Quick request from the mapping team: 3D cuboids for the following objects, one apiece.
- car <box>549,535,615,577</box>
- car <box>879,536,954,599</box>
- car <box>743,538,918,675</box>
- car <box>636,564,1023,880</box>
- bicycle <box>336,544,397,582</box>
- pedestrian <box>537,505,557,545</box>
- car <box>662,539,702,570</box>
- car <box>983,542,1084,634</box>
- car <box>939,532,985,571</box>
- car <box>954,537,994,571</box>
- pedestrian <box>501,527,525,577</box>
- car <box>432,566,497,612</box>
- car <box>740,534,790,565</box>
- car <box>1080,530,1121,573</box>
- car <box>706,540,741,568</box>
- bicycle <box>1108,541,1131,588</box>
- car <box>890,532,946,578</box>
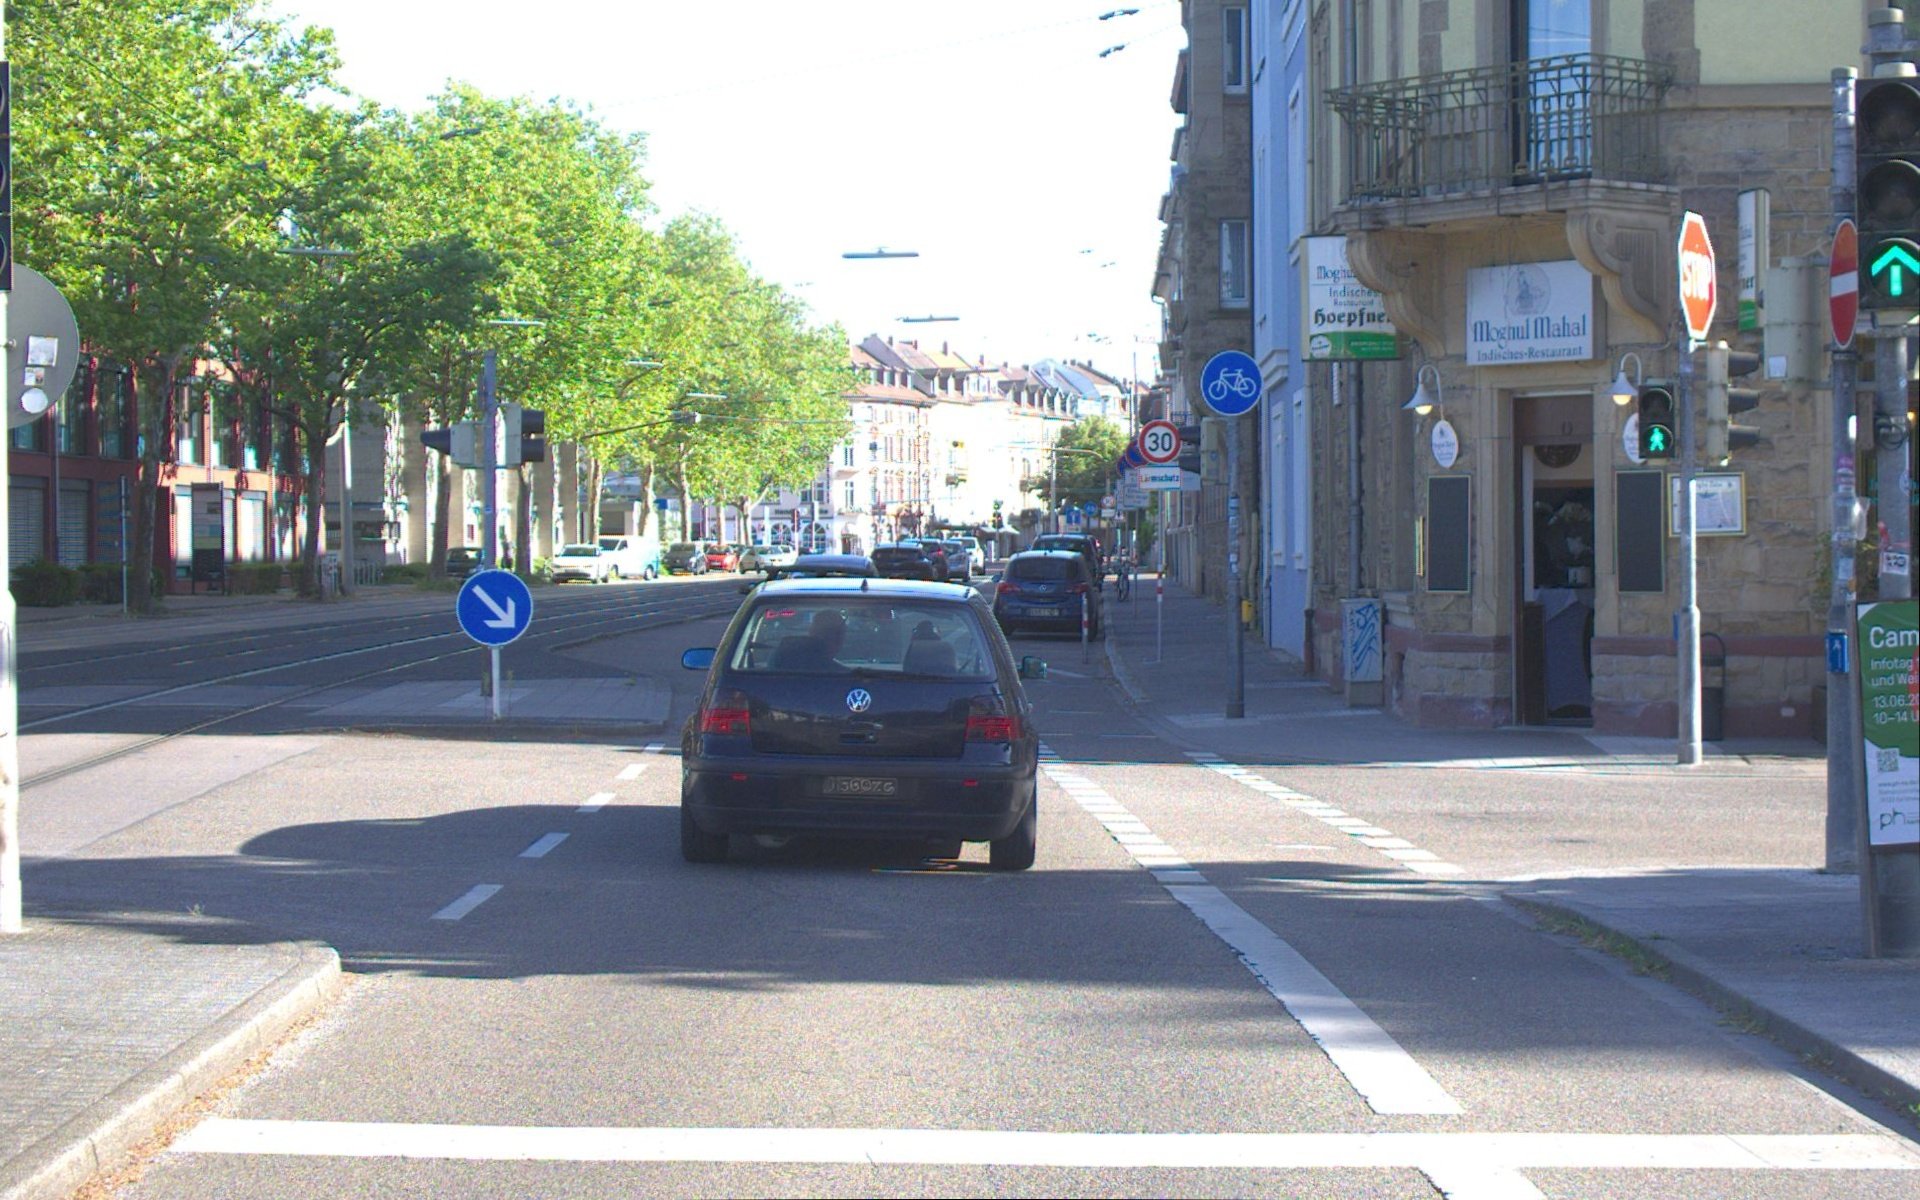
[{"bbox_3d":[-15.100,-1.764,137.674,2.012,1.567,4.693,2,2,1],"label":"car"},{"bbox_3d":[-1.031,-0.804,83.212,1.636,1.467,3.729,0,1,2],"label":"car"},{"bbox_3d":[-1.506,0.036,41.282,1.749,1.532,3.891,0,1,3],"label":"car"},{"bbox_3d":[-0.557,0.536,17.616,1.748,1.370,4.000,0,1,1],"label":"car"},{"bbox_3d":[-20.727,-1.288,120.092,2.008,1.274,0.664,1,1,3],"label":"bicycle"},{"bbox_3d":[-19.071,-3.474,158.834,0.796,1.814,0.670,2,1,2],"label":"pedestrian"},{"bbox_3d":[-13.935,-2.285,172.236,1.570,1.528,3.572,0,0,2],"label":"car"},{"bbox_3d":[1.276,-0.233,58.702,1.655,1.477,4.000,1,1,2],"label":"car"},{"bbox_3d":[0.091,-1.857,131.817,1.636,1.467,3.729,0,1,2],"label":"car"},{"bbox_3d":[0.625,-2.042,151.250,1.636,1.467,3.729,0,1,2],"label":"car"},{"bbox_3d":[-17.020,-1.819,130.916,0.784,1.863,0.671,1,1,-12],"label":"pedestrian"},{"bbox_3d":[-16.325,-0.353,113.400,1.507,1.449,3.463,-1,-1,3],"label":"car"},{"bbox_3d":[-9.974,-2.600,175.855,1.753,1.513,4.070,-2,1,8],"label":"car"},{"bbox_3d":[6.270,-2.153,153.122,1.759,1.831,3.547,2,1,2],"label":"car"},{"bbox_3d":[-12.982,-2.518,188.778,1.570,1.528,3.572,0,0,2],"label":"car"},{"bbox_3d":[4.050,-0.912,87.172,0.515,1.136,2.259,-2,1,2],"label":"bicycle"},{"bbox_3d":[-1.364,-1.477,112.571,1.636,1.467,3.729,0,1,2],"label":"car"}]
